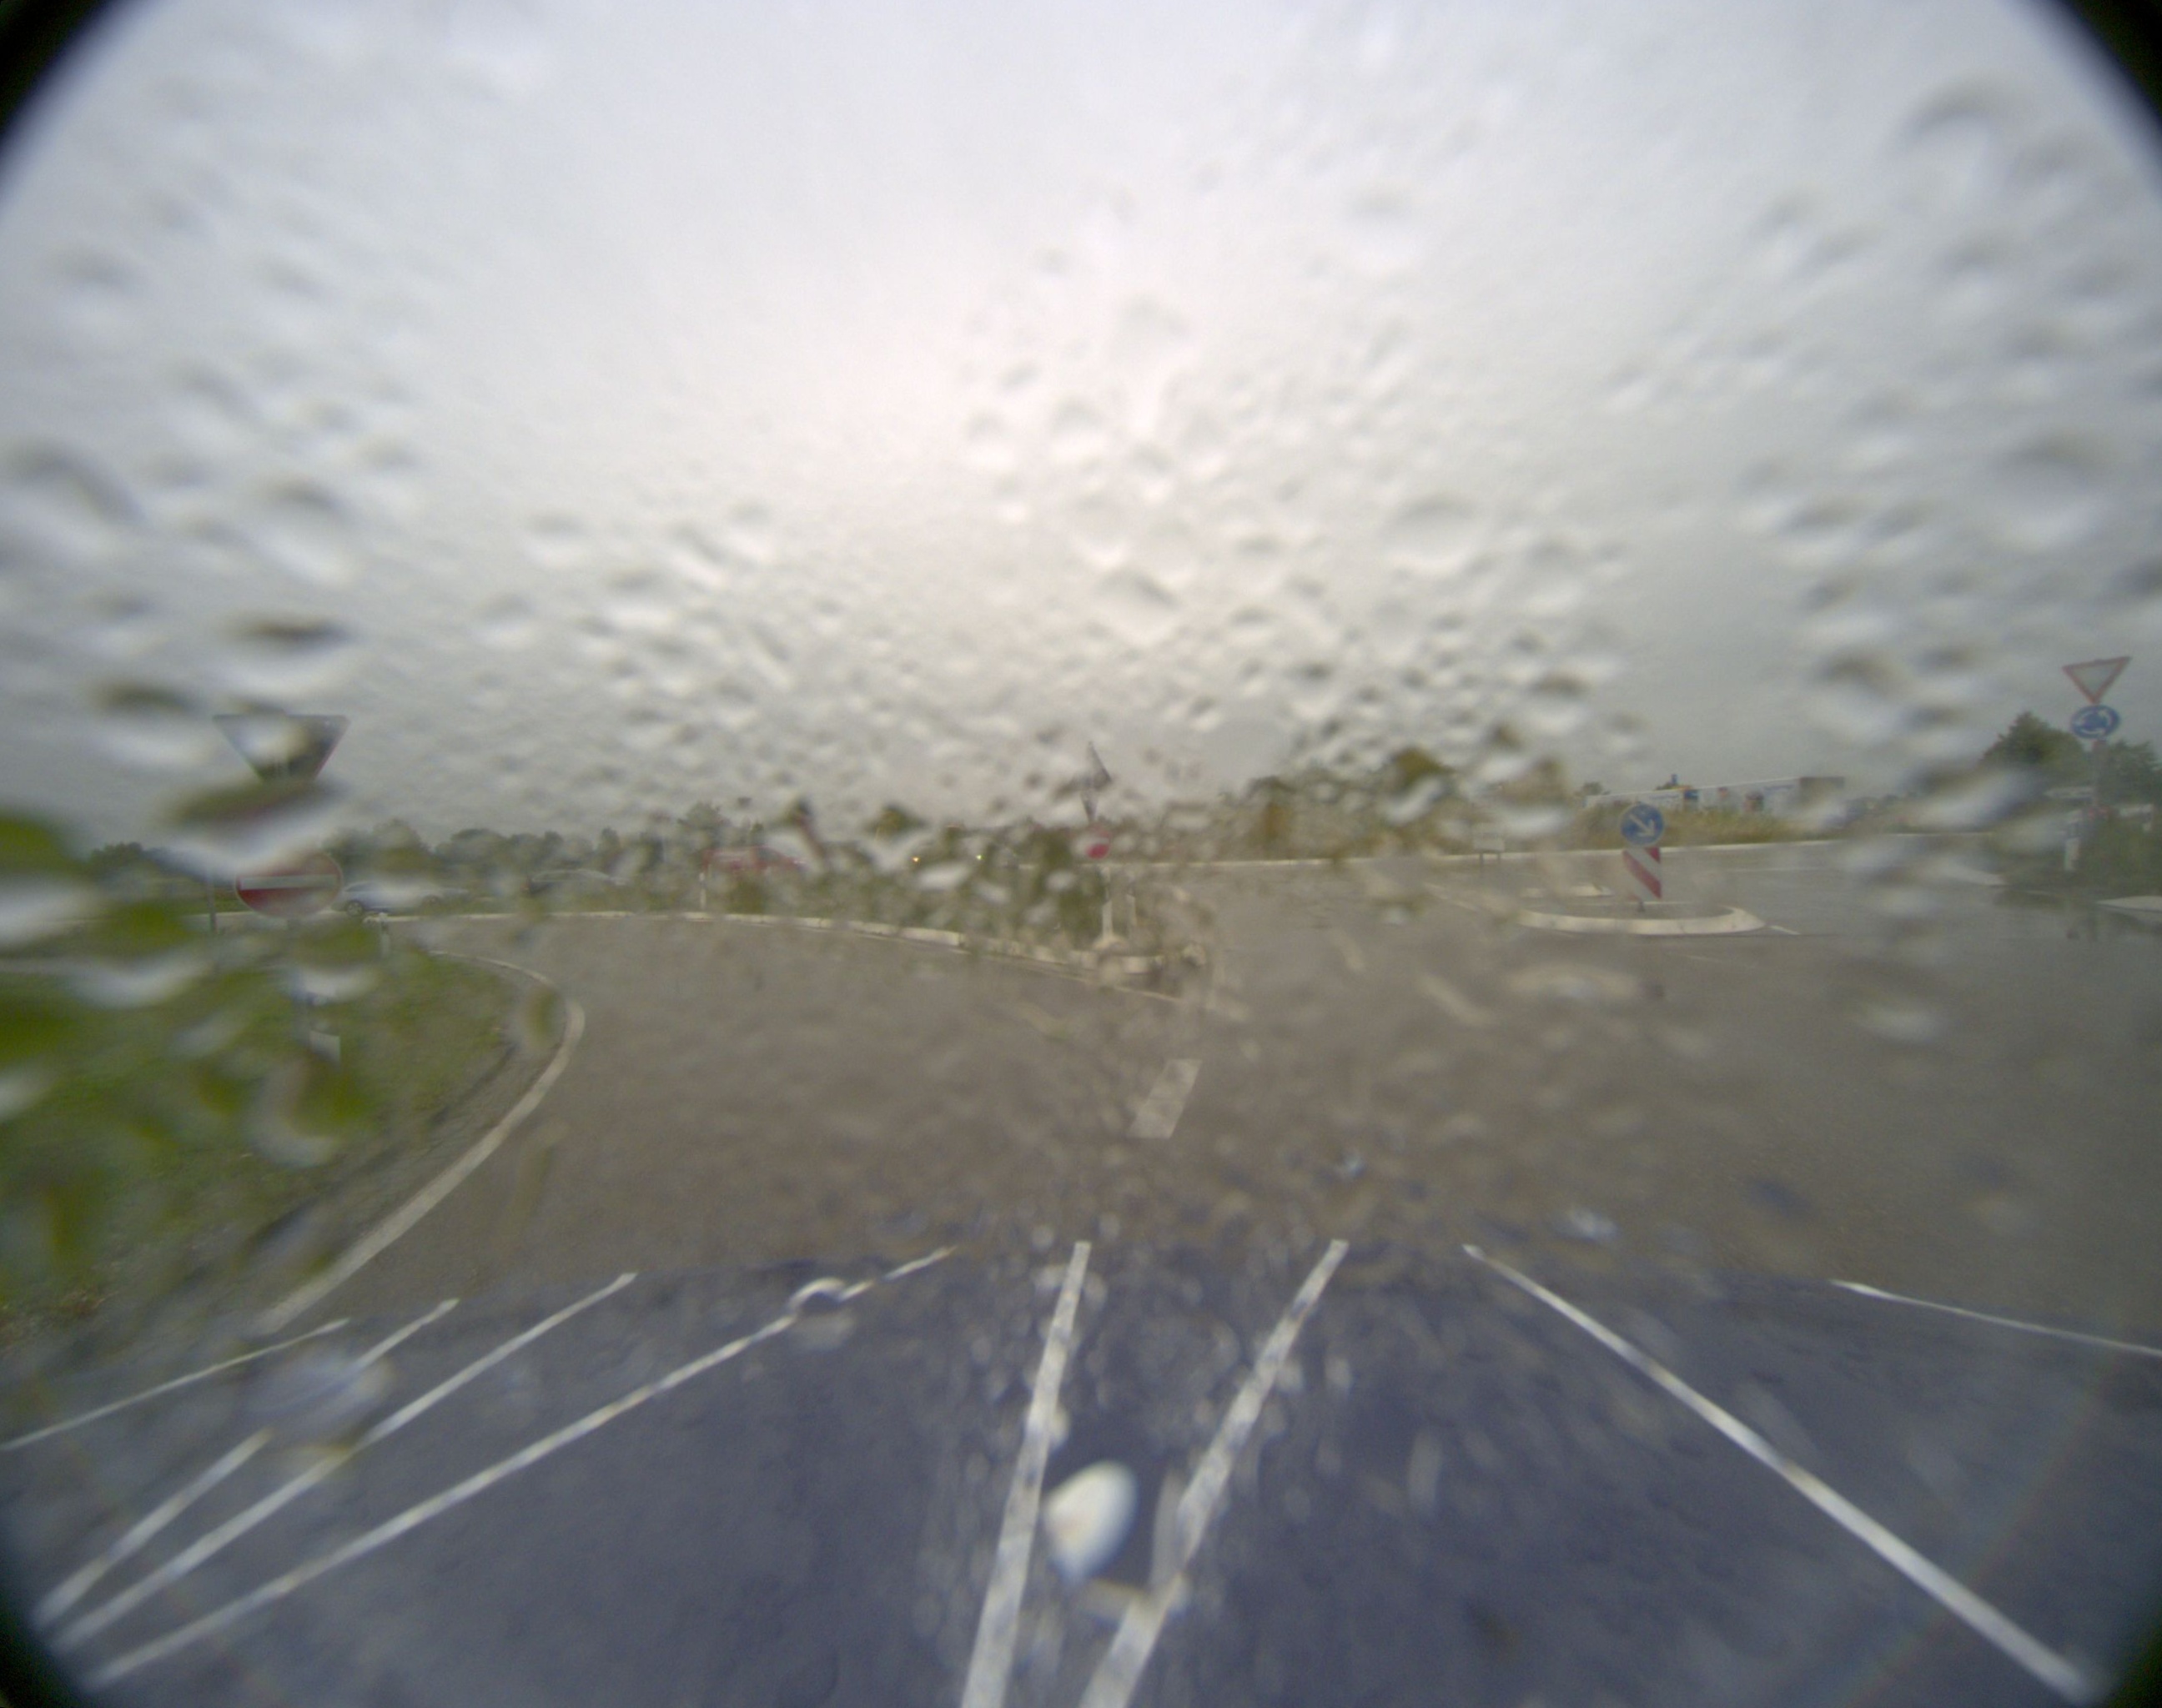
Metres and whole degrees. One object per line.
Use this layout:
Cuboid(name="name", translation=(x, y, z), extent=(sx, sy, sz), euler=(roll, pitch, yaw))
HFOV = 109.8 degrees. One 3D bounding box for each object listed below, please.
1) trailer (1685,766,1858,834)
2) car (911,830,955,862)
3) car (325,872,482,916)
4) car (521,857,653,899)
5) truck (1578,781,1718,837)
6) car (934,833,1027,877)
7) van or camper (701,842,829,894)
Cuboid(name="trailer", translation=(43.173, -3.225, 48.061), extent=(3.097, 3.593, 8.860), euler=(-3, 1, 3))
Cuboid(name="car", translation=(-8.522, -0.502, 43.981), extent=(1.825, 1.582, 3.997), euler=(-5, 3, -3))
Cuboid(name="car", translation=(-29.444, 1.709, 33.184), extent=(4.663, 1.474, 1.997), euler=(-3, 3, -11))
Cuboid(name="car", translation=(-22.331, 1.054, 34.498), extent=(4.524, 1.594, 1.998), euler=(-3, 1, -8))
Cuboid(name="truck", translation=(42.128, -3.246, 56.897), extent=(3.118, 3.577, 8.163), euler=(-3, 1, -15))
Cuboid(name="car", translation=(-4.258, 0.003, 31.585), extent=(2.003, 1.566, 4.488), euler=(-5, 3, -34))
Cuboid(name="van or camper", translation=(-14.305, 0.591, 34.633), extent=(4.843, 2.003, 1.999), euler=(-3, 4, 1))
